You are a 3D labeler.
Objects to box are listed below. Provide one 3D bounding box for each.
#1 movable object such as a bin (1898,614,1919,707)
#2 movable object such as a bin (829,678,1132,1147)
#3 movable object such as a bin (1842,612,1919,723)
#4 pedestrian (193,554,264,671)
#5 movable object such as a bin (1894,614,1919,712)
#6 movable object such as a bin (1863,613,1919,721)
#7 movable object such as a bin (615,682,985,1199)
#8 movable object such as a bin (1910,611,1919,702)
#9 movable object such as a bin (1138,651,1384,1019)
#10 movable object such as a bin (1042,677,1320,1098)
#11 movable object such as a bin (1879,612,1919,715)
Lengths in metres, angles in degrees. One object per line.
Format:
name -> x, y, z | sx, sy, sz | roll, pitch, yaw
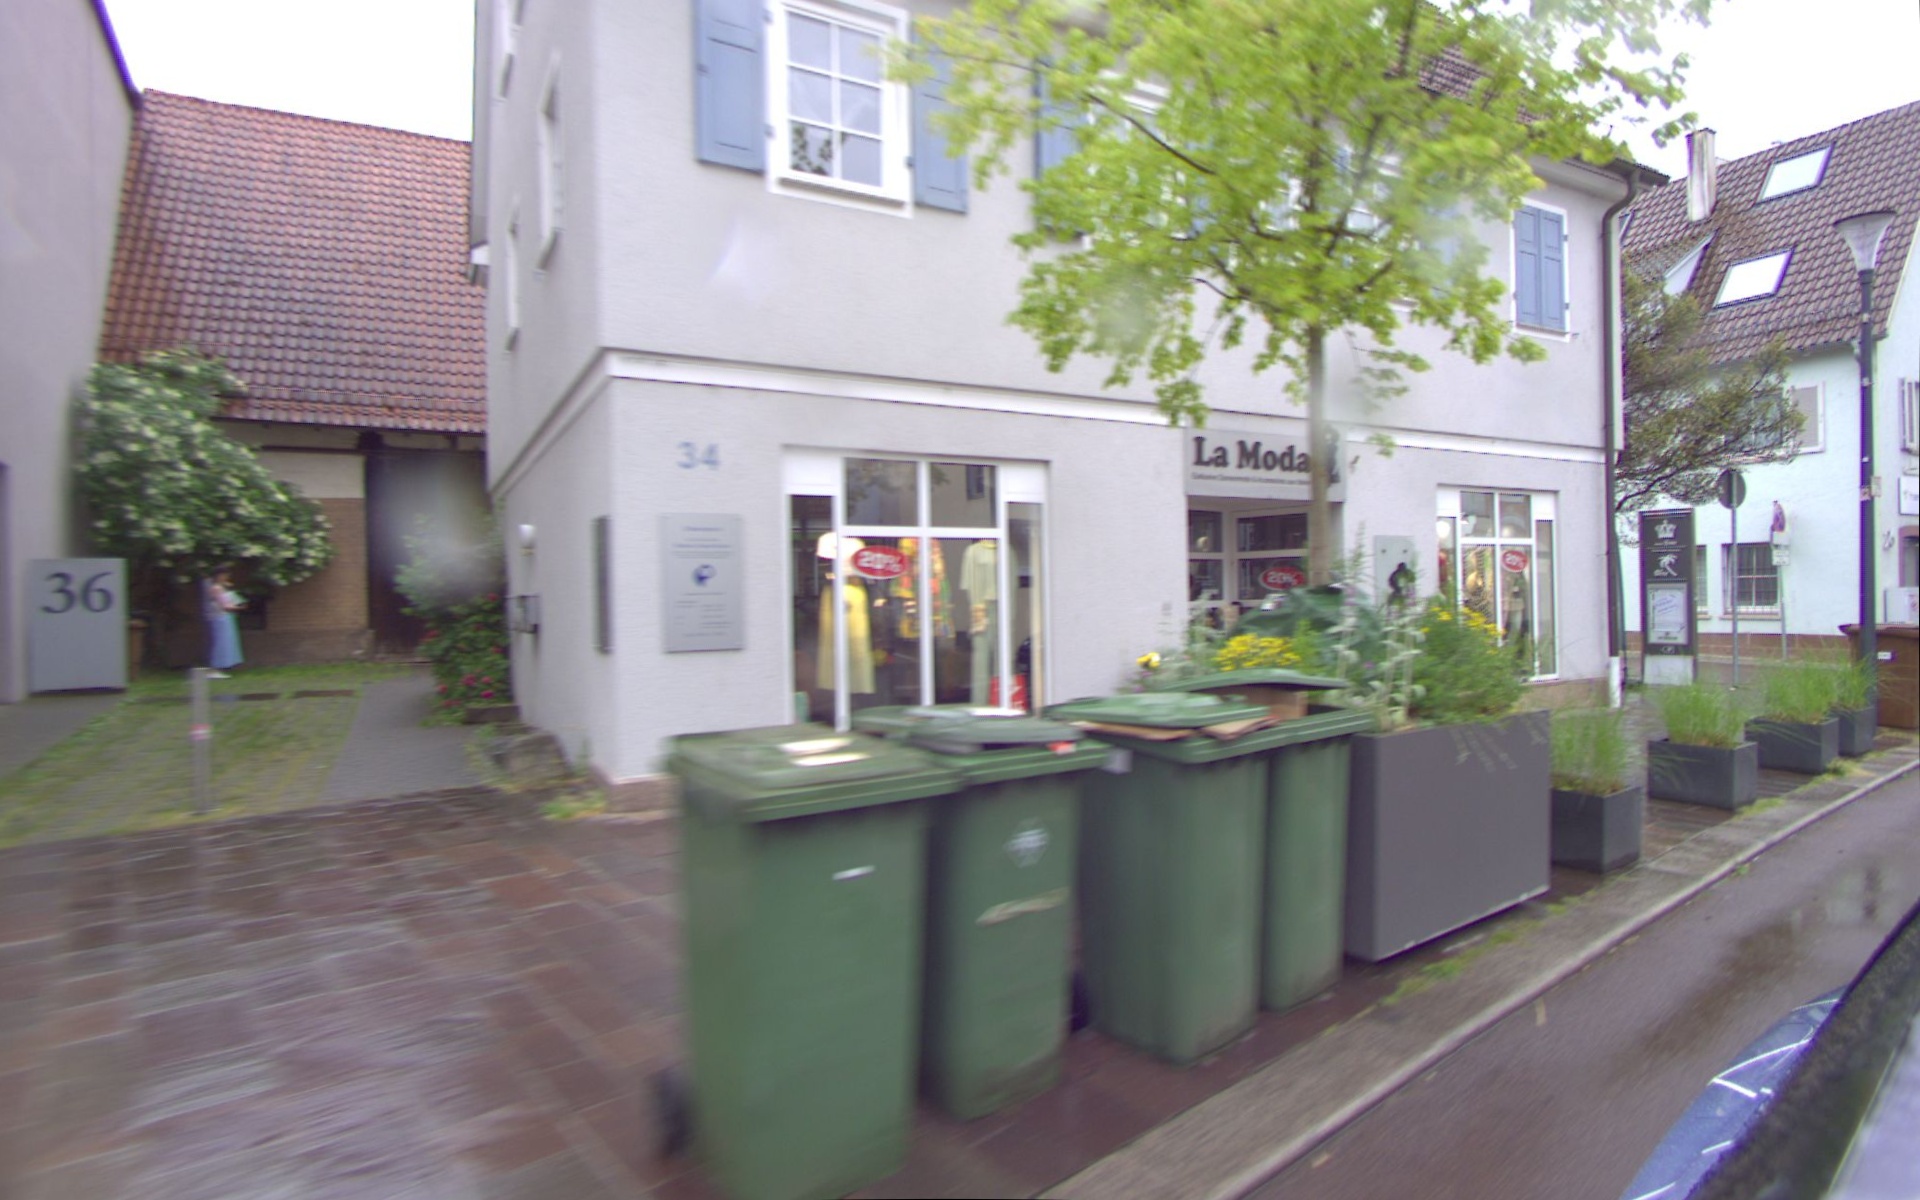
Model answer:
movable object such as a bin -> 11.705, 0.709, 11.961 | 0.588, 1.077, 0.757 | -2, 0, -32
movable object such as a bin -> 0.046, 0.825, 3.015 | 0.569, 1.117, 0.679 | -2, -1, -37
movable object such as a bin -> 9.848, 0.693, 10.637 | 0.644, 1.104, 0.755 | 0, 1, -36
pedestrian -> -11.288, 0.188, 15.638 | 0.671, 1.738, 0.714 | -2, -1, -18
movable object such as a bin -> 11.266, 0.715, 11.561 | 0.511, 1.105, 0.731 | -2, -1, -32
movable object such as a bin -> 10.346, 0.710, 10.931 | 0.599, 1.112, 0.738 | -2, 0, -33
movable object such as a bin -> -0.428, 0.795, 2.587 | 0.637, 1.087, 0.723 | -2, -1, -37
movable object such as a bin -> 12.177, 0.685, 12.300 | 0.587, 1.093, 0.771 | -2, 0, -32
movable object such as a bin -> 1.111, 0.792, 3.755 | 0.569, 1.165, 0.632 | -2, -1, -41
movable object such as a bin -> 0.710, 0.843, 3.287 | 0.569, 1.118, 0.632 | -2, -1, -41
movable object such as a bin -> 10.831, 0.701, 11.272 | 0.599, 1.112, 0.738 | -2, 0, -33
